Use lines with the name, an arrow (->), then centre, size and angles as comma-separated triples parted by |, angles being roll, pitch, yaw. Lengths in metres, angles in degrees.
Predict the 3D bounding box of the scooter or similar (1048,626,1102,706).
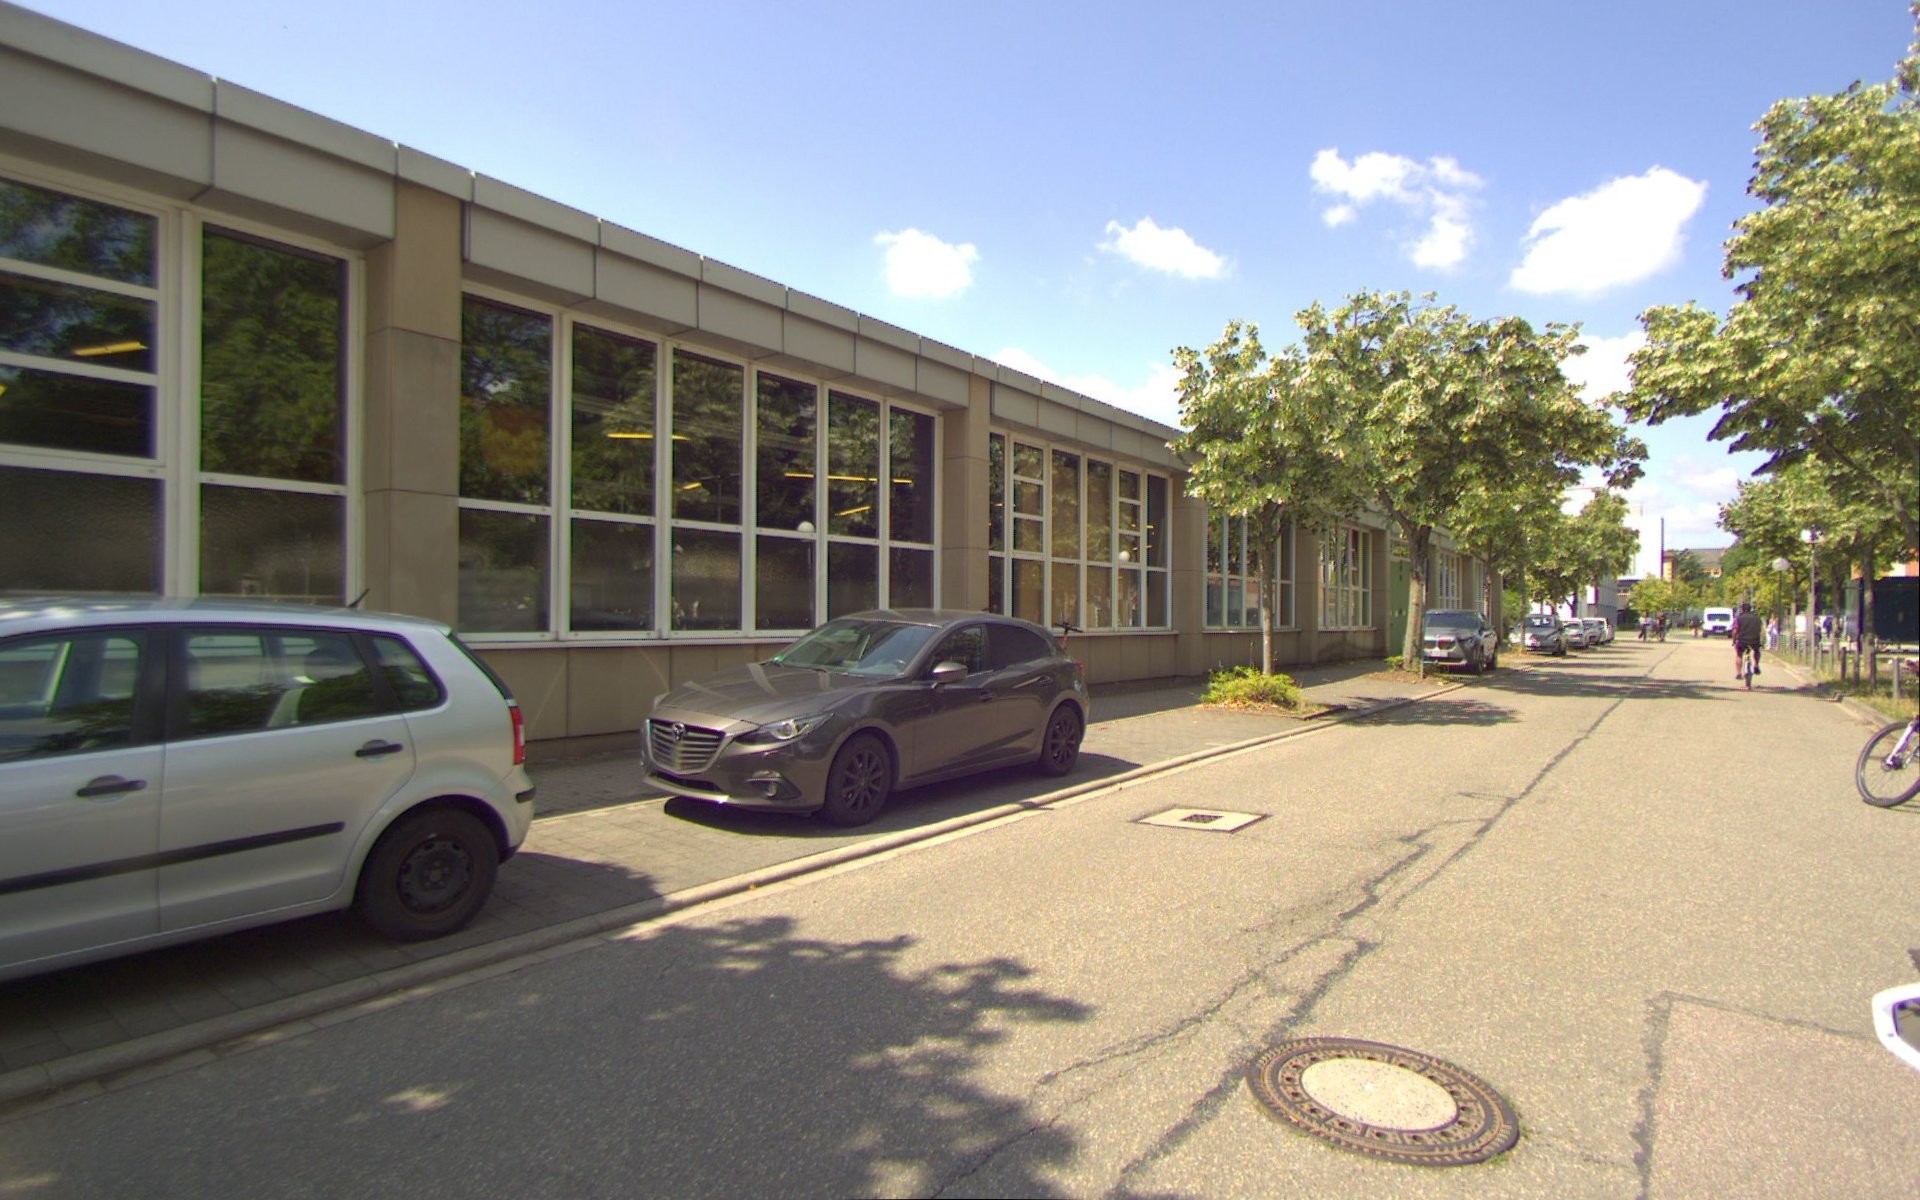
scooter or similar -> 1.870, 1.039, 16.233 | 0.285, 1.242, 1.153 | -1, -1, 40

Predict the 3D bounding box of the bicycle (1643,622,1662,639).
bicycle -> 46.050, 2.021, 66.828 | 0.464, 1.098, 1.700 | 0, 0, 14

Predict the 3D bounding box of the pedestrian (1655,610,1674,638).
pedestrian -> 46.606, 1.586, 66.464 | 0.754, 1.798, 0.907 | 0, 0, 14

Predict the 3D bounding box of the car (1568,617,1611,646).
car -> 34.844, 1.719, 55.576 | 1.808, 1.561, 4.524 | -1, -1, 35

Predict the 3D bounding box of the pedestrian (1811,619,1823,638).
pedestrian -> 68.560, 2.263, 80.363 | 0.561, 1.540, 0.838 | 0, 0, 32

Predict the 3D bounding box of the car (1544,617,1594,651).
car -> 29.493, 1.630, 48.573 | 1.808, 1.561, 4.524 | -1, -1, 35

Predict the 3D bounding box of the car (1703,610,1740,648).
car -> 64.258, 2.423, 84.798 | 2.232, 3.054, 5.720 | 1, -1, 35

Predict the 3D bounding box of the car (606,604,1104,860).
car -> -0.564, 0.803, 8.195 | 1.627, 1.496, 4.196 | 2, 1, 37

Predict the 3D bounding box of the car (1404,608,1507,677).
car -> 13.434, 1.071, 27.095 | 1.808, 1.639, 4.524 | 1, 0, 35

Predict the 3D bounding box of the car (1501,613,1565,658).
car -> 22.687, 1.366, 39.717 | 1.808, 1.655, 4.524 | -1, -1, 35

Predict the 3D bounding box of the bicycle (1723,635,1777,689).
bicycle -> 17.400, 1.348, 22.151 | 0.658, 1.122, 2.068 | -1, -2, 31

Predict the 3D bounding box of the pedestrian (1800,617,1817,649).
pedestrian -> 41.725, 1.600, 49.389 | 0.613, 1.540, 0.733 | 0, 0, 39

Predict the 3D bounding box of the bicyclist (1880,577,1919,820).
bicyclist -> 7.529, 0.730, 7.398 | 0.594, 1.825, 0.897 | 0, -1, -12

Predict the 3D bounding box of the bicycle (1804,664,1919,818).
bicycle -> 7.535, 1.065, 7.402 | 0.594, 1.122, 2.068 | 0, -2, -12

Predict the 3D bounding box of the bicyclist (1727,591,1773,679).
bicyclist -> 17.402, 0.770, 22.155 | 0.658, 1.899, 0.825 | -1, -2, 31

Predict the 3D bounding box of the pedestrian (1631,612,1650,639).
pedestrian -> 45.310, 1.696, 66.879 | 0.754, 1.798, 0.907 | 0, 0, 14

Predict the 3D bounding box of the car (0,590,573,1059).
car -> -3.659, 0.723, 3.851 | 1.627, 1.496, 3.765 | 2, 0, 37
